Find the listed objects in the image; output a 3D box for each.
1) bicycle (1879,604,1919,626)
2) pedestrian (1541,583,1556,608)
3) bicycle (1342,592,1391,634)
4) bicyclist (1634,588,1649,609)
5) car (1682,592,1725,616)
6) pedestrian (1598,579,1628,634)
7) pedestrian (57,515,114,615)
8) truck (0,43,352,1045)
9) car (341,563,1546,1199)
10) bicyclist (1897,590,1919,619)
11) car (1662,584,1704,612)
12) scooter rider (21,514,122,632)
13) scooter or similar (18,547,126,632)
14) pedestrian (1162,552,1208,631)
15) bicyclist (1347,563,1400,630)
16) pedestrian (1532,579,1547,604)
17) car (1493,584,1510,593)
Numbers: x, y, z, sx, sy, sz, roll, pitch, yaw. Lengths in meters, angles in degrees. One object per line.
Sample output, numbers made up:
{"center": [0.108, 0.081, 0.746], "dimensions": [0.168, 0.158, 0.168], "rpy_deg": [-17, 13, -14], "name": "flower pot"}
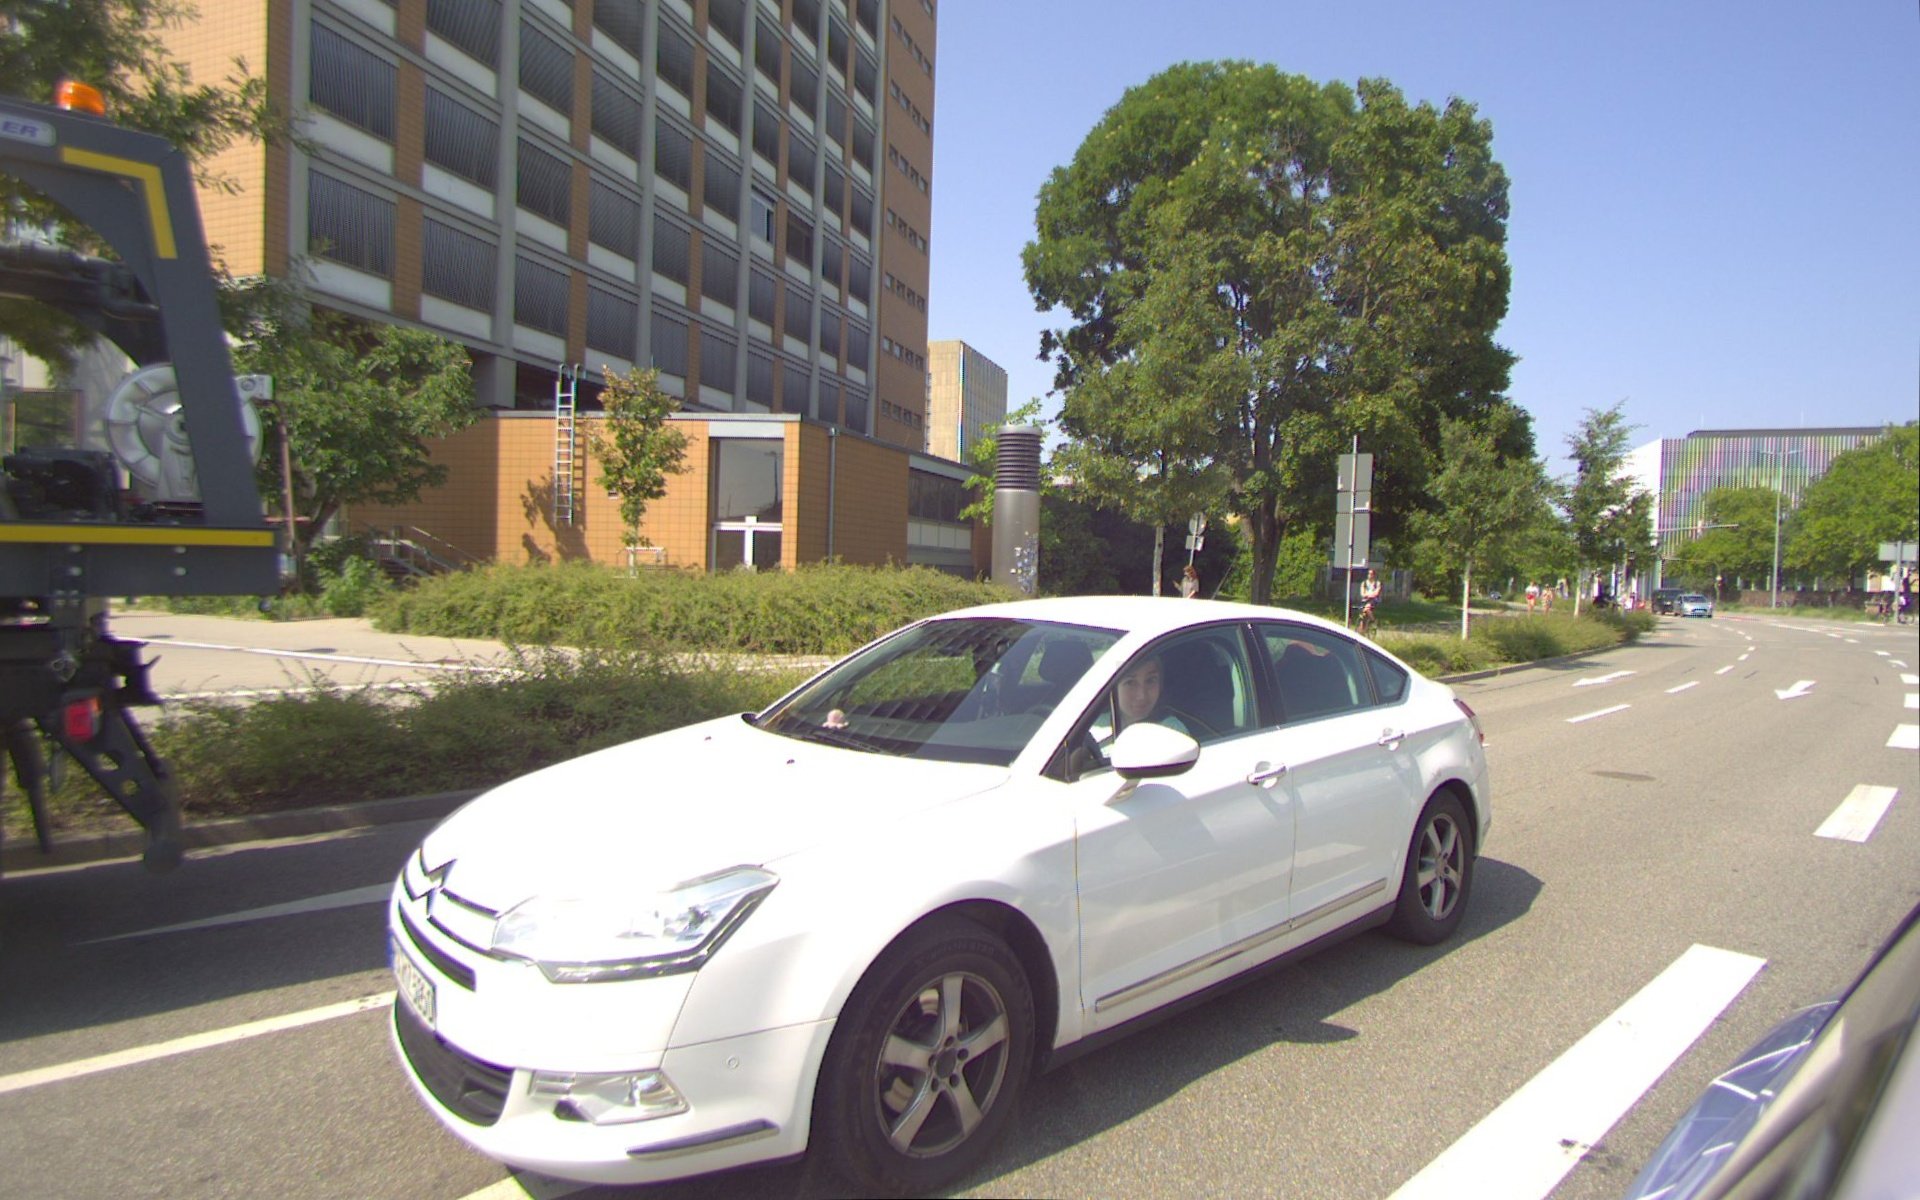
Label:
{"center": [52.444, 0.838, 56.060], "dimensions": [2.260, 1.090, 0.649], "rpy_deg": [3, 2, 43], "name": "bicycle"}
{"center": [31.128, -0.254, 53.572], "dimensions": [0.610, 1.315, 0.434], "rpy_deg": [0, 0, 21], "name": "pedestrian"}
{"center": [10.163, 0.314, 25.279], "dimensions": [1.751, 0.992, 0.357], "rpy_deg": [0, 2, -41], "name": "bicycle"}
{"center": [46.303, -0.121, 68.757], "dimensions": [1.032, 1.417, 0.678], "rpy_deg": [0, 2, -45], "name": "bicyclist"}
{"center": [50.524, 0.255, 68.832], "dimensions": [1.644, 1.550, 4.490], "rpy_deg": [0, 0, 27], "name": "car"}
{"center": [23.162, 0.216, 35.911], "dimensions": [0.818, 1.926, 0.622], "rpy_deg": [2, 1, 37], "name": "pedestrian"}
{"center": [-17.049, -0.687, 19.729], "dimensions": [0.831, 1.894, 0.622], "rpy_deg": [2, 2, 31], "name": "pedestrian"}
{"center": [-5.686, -0.181, 2.674], "dimensions": [6.737, 3.174, 2.497], "rpy_deg": [0, 0, -39], "name": "truck"}
{"center": [0.373, 0.640, 3.907], "dimensions": [4.527, 1.446, 1.773], "rpy_deg": [0, 2, -39], "name": "car"}
{"center": [52.572, 0.258, 56.009], "dimensions": [1.014, 1.570, 0.708], "rpy_deg": [2, 1, 43], "name": "bicyclist"}
{"center": [53.628, -0.174, 75.141], "dimensions": [1.874, 1.943, 4.489], "rpy_deg": [1, 1, 28], "name": "car"}
{"center": [-14.007, -0.418, 15.989], "dimensions": [1.019, 1.780, 0.861], "rpy_deg": [0, 0, -29], "name": "scooter rider"}
{"center": [-13.995, -0.165, 15.985], "dimensions": [1.153, 1.295, 0.652], "rpy_deg": [0, 0, -28], "name": "scooter or similar"}
{"center": [5.039, -0.193, 22.683], "dimensions": [0.670, 1.720, 0.794], "rpy_deg": [2, 1, 41], "name": "pedestrian"}
{"center": [10.405, -0.091, 25.495], "dimensions": [0.909, 1.625, 0.903], "rpy_deg": [0, 1, -43], "name": "bicyclist"}
{"center": [30.747, -0.443, 53.729], "dimensions": [0.627, 1.315, 0.483], "rpy_deg": [0, 0, 22], "name": "pedestrian"}
{"center": [100.447, -2.171, 187.850], "dimensions": [1.849, 1.549, 4.510], "rpy_deg": [2, 2, 17], "name": "car"}
